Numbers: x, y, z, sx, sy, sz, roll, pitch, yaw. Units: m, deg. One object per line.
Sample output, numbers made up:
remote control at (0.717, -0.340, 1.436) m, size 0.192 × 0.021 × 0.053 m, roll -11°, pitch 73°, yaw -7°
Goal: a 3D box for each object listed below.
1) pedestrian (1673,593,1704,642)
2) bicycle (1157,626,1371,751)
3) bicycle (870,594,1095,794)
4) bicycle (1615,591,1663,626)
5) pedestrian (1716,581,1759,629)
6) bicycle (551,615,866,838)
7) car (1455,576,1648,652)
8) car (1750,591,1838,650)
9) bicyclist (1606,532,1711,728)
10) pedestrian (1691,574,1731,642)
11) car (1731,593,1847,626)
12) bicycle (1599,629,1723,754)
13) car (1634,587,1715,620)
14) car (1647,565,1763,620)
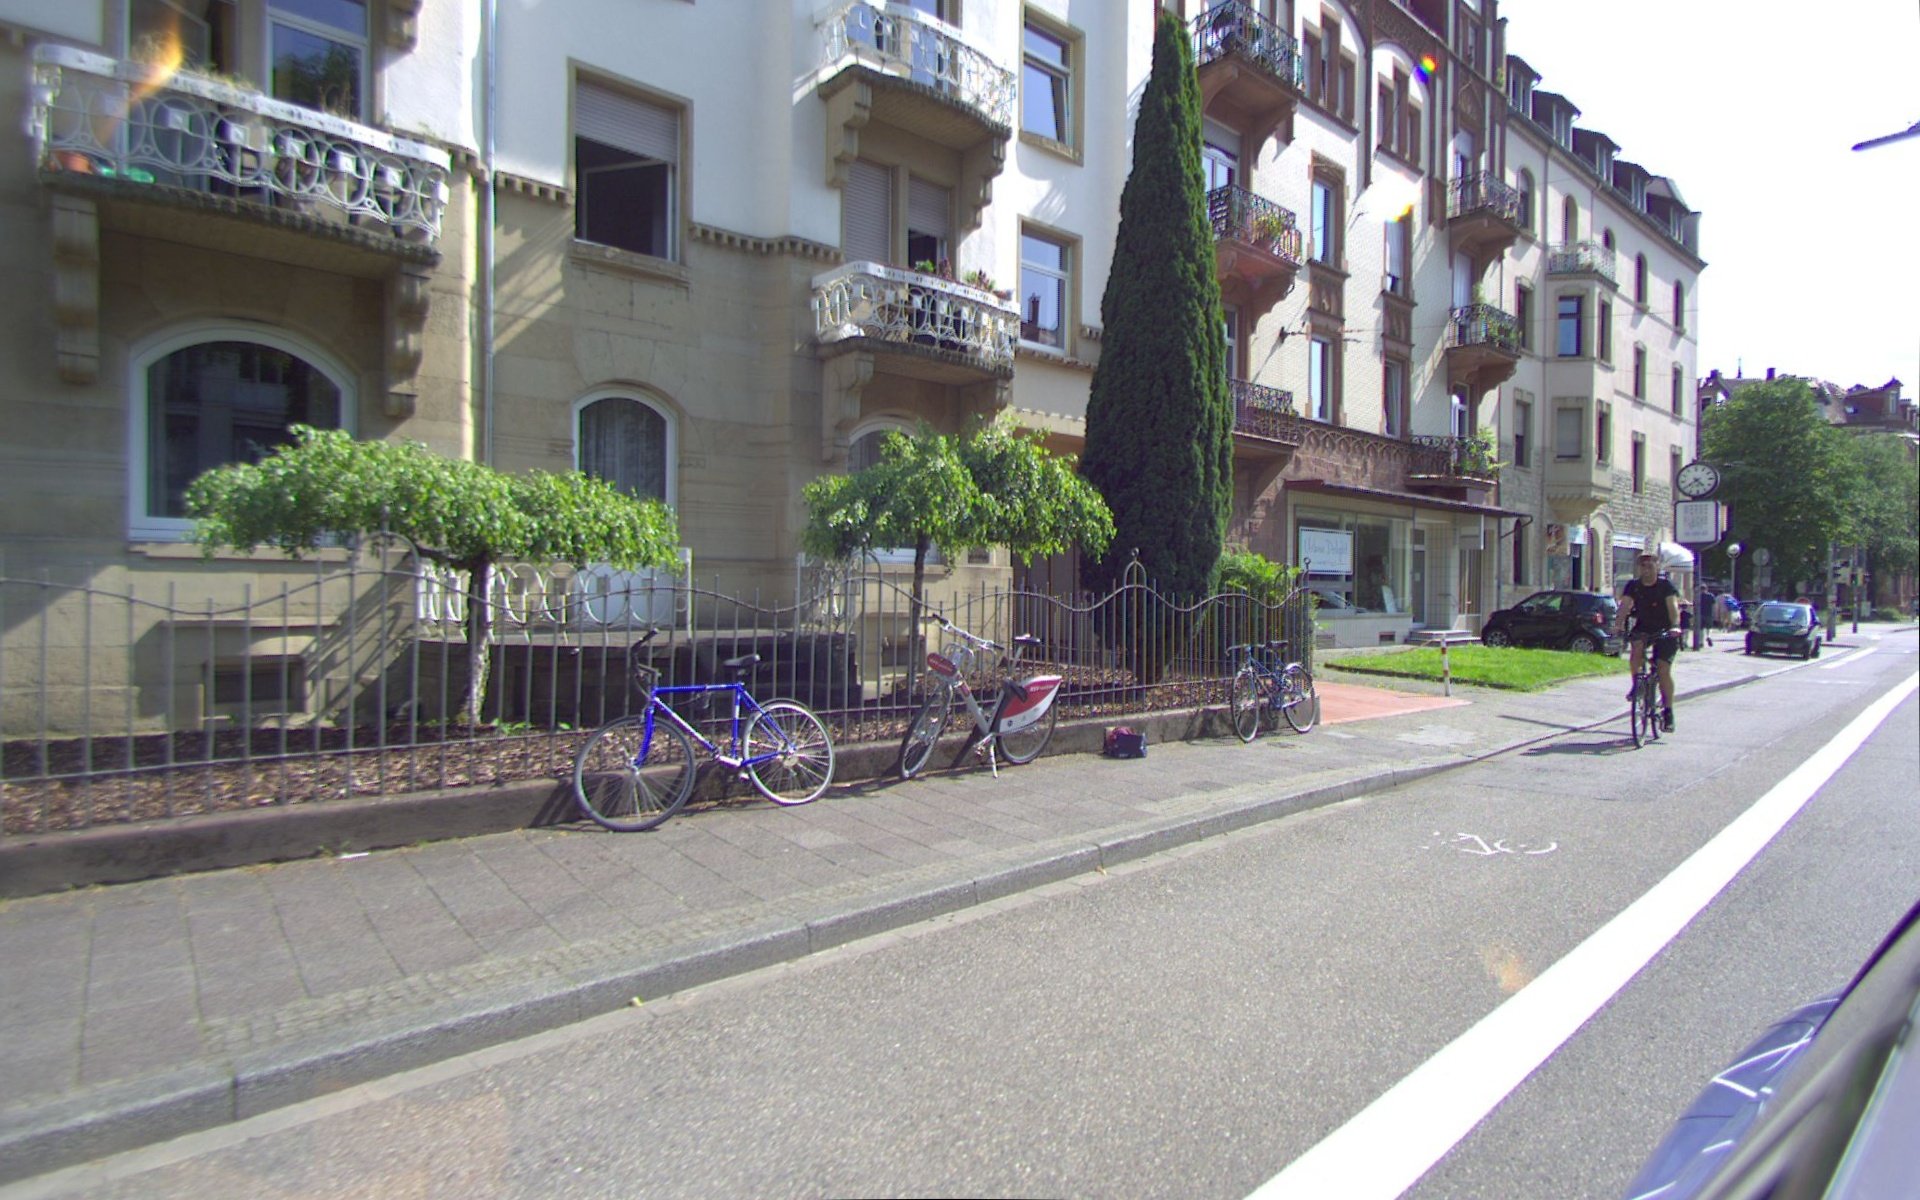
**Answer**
pedestrian at (21.243, 0.501, 29.518) m, size 0.570 × 1.341 × 0.436 m, roll 7°, pitch 5°, yaw 42°
bicycle at (3.136, 0.813, 10.152) m, size 3.015 × 0.972 × 0.600 m, roll 0°, pitch 4°, yaw -44°
bicycle at (0.213, 0.609, 7.364) m, size 1.813 × 1.276 × 0.451 m, roll 0°, pitch 3°, yaw -44°
bicycle at (23.758, 0.287, 35.396) m, size 2.706 × 1.192 × 0.805 m, roll -1°, pitch -1°, yaw -44°
pedestrian at (31.315, 0.192, 40.788) m, size 0.834 × 1.788 × 1.014 m, roll 1°, pitch 7°, yaw -39°
bicycle at (-1.456, 0.683, 6.111) m, size 1.811 × 1.136 × 0.452 m, roll 0°, pitch 2°, yaw -40°
car at (13.823, 0.264, 23.785) m, size 1.936 × 1.542 × 3.411 m, roll 0°, pitch 3°, yaw -38°
car at (23.690, 0.545, 28.722) m, size 2.747 × 1.517 × 1.516 m, roll 0°, pitch 3°, yaw -43°
bicyclist at (7.441, 0.300, 10.772) m, size 1.110 × 1.973 × 0.608 m, roll -1°, pitch -1°, yaw -41°
pedestrian at (21.621, 0.207, 29.123) m, size 0.659 × 1.863 × 0.860 m, roll 9°, pitch 6°, yaw 41°
car at (38.337, 0.419, 46.912) m, size 1.854 × 1.436 × 4.005 m, roll 0°, pitch 1°, yaw -5°
bicycle at (7.481, 0.926, 10.773) m, size 1.804 × 1.057 × 0.617 m, roll -4°, pitch 6°, yaw -41°
car at (37.554, 0.170, 53.320) m, size 1.699 × 1.574 × 4.105 m, roll -2°, pitch 0°, yaw 7°
car at (40.522, -0.401, 55.301) m, size 2.353 × 2.829 × 6.655 m, roll 1°, pitch 0°, yaw 10°
